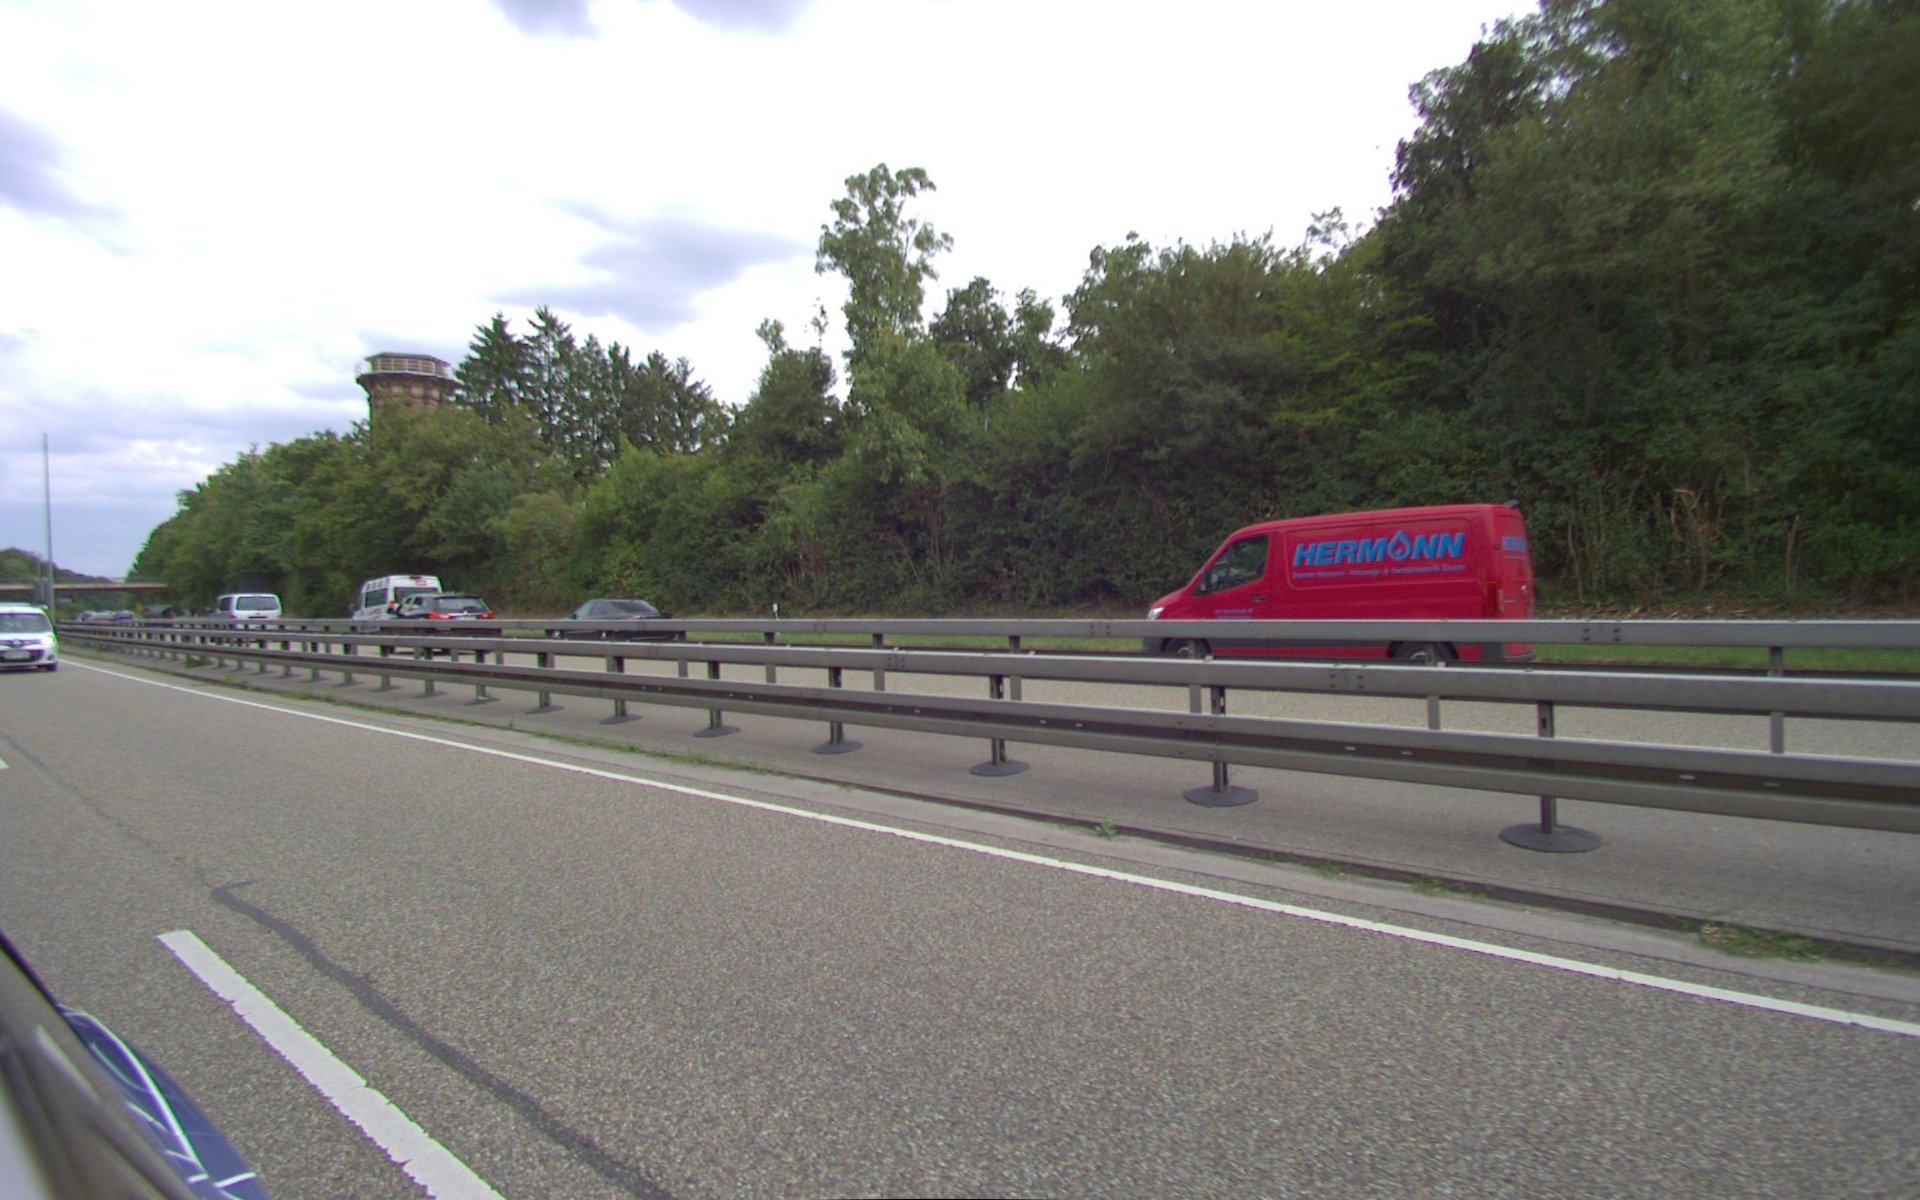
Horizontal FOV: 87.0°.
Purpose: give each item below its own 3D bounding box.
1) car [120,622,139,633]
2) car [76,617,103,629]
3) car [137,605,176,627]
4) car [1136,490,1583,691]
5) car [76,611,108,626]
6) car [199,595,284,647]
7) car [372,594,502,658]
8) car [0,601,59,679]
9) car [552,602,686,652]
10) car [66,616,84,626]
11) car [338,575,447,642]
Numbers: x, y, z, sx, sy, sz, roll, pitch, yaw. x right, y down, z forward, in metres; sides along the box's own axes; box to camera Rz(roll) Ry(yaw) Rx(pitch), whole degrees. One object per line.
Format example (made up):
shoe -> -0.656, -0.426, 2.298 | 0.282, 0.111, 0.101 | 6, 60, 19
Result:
car -> -112.624, 3.748, 137.259 | 1.790, 1.461, 4.061 | 0, -1, -43
car -> -103.714, 2.747, 120.568 | 4.069, 1.309, 1.956 | -1, -1, 43
car -> -71.386, 1.416, 89.907 | 5.124, 1.817, 2.012 | -1, -1, 44
car -> 5.301, -0.076, 13.973 | 5.371, 2.273, 2.045 | -1, -1, 41
car -> -73.647, 1.557, 85.872 | 4.714, 1.288, 1.636 | -1, -1, 44
car -> -29.578, 0.839, 41.621 | 5.056, 1.998, 1.802 | -1, -1, 42
car -> -13.938, 0.668, 26.906 | 4.013, 1.575, 1.763 | -1, -1, 42
car -> -26.346, 1.073, 27.935 | 4.423, 2.020, 1.797 | -1, -1, 43
car -> -9.601, 0.733, 28.325 | 4.105, 1.306, 1.756 | -1, -1, 41
car -> -126.615, 3.035, 144.839 | 1.692, 1.438, 4.059 | 0, -1, -45
car -> -23.573, 0.367, 41.929 | 5.551, 2.631, 2.287 | -1, -1, 42
